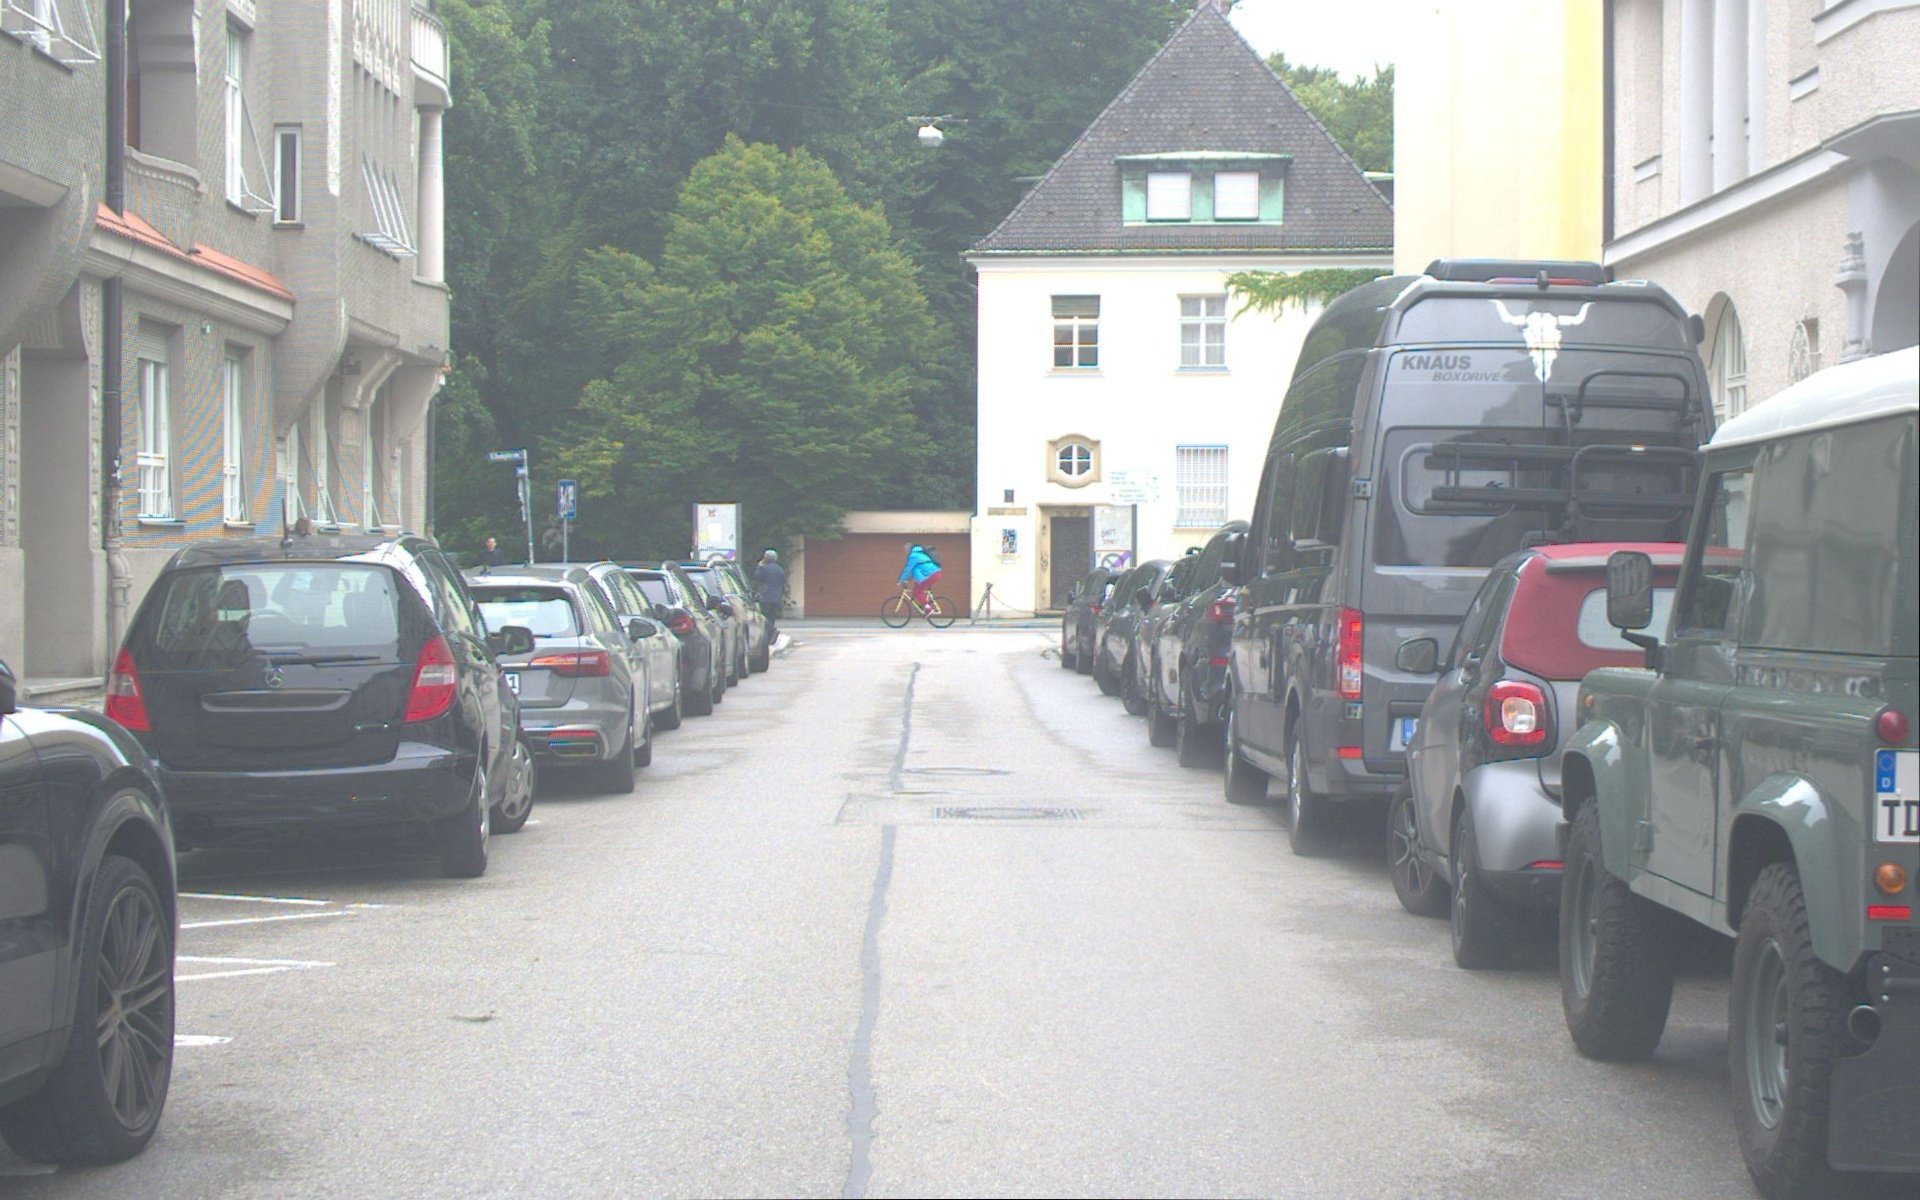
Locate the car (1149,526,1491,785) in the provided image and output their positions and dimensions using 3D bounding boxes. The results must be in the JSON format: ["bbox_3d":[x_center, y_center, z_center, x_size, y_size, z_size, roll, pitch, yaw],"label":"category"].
[{"bbox_3d":[2.538,0.340,25.361,1.993,1.683,4.674,2,1,0],"label":"car"}]

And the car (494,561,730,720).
[{"bbox_3d":[-3.322,0.340,33.636,1.993,1.443,4.779,0,1,-2],"label":"car"}]

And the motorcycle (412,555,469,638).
[{"bbox_3d":[-9.149,-0.076,60.641,0.736,1.436,2.147,1,0,-2],"label":"motorcycle"}]

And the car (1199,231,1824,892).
[{"bbox_3d":[2.731,-0.163,18.745,2.254,2.950,6.132,2,0,-1],"label":"car"}]

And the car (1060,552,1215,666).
[{"bbox_3d":[2.397,0.093,47.424,1.692,1.466,4.611,1,1,-2],"label":"car"}]

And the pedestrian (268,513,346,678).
[{"bbox_3d":[-7.251,-0.050,38.207,0.716,1.811,0.731,1,0,-1],"label":"pedestrian"}]

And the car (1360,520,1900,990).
[{"bbox_3d":[2.506,0.528,13.427,1.542,1.620,2.815,1,1,0],"label":"car"}]

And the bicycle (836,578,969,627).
[{"bbox_3d":[-1.207,0.042,72.173,2.613,0.984,0.986,1,0,14],"label":"bicycle"}]

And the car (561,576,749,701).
[{"bbox_3d":[-3.415,0.402,39.132,1.755,1.326,4.096,0,1,0],"label":"car"}]

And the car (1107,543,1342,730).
[{"bbox_3d":[2.357,0.297,31.532,1.633,1.586,3.969,1,1,-3],"label":"car"}]

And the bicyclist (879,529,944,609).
[{"bbox_3d":[-1.022,-0.646,72.107,1.124,1.646,0.986,1,0,14],"label":"bicyclist"}]

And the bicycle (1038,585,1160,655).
[{"bbox_3d":[2.202,0.312,54.547,1.794,1.082,0.665,0,2,27],"label":"bicycle"}]

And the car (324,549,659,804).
[{"bbox_3d":[-2.983,0.425,22.730,1.837,1.508,4.609,0,1,-3],"label":"car"}]

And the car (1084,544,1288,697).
[{"bbox_3d":[2.373,0.187,36.923,1.633,1.531,3.856,1,1,-4],"label":"car"}]

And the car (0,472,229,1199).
[{"bbox_3d":[-3.039,0.547,6.861,1.951,1.653,4.617,1,1,3],"label":"car"}]

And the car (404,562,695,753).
[{"bbox_3d":[-3.332,0.418,28.706,1.805,1.426,4.439,-1,1,1],"label":"car"}]

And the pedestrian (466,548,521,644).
[{"bbox_3d":[-8.741,-0.077,64.428,0.839,1.781,0.936,1,0,2],"label":"pedestrian"}]

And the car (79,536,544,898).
[{"bbox_3d":[-3.081,0.492,17.037,1.802,1.567,3.814,-1,1,-4],"label":"car"}]

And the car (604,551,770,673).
[{"bbox_3d":[-3.501,0.119,44.840,1.755,1.510,4.707,0,1,0],"label":"car"}]

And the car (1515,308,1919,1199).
[{"bbox_3d":[2.700,0.419,8.994,1.795,2.032,4.071,1,1,0],"label":"car"}]
